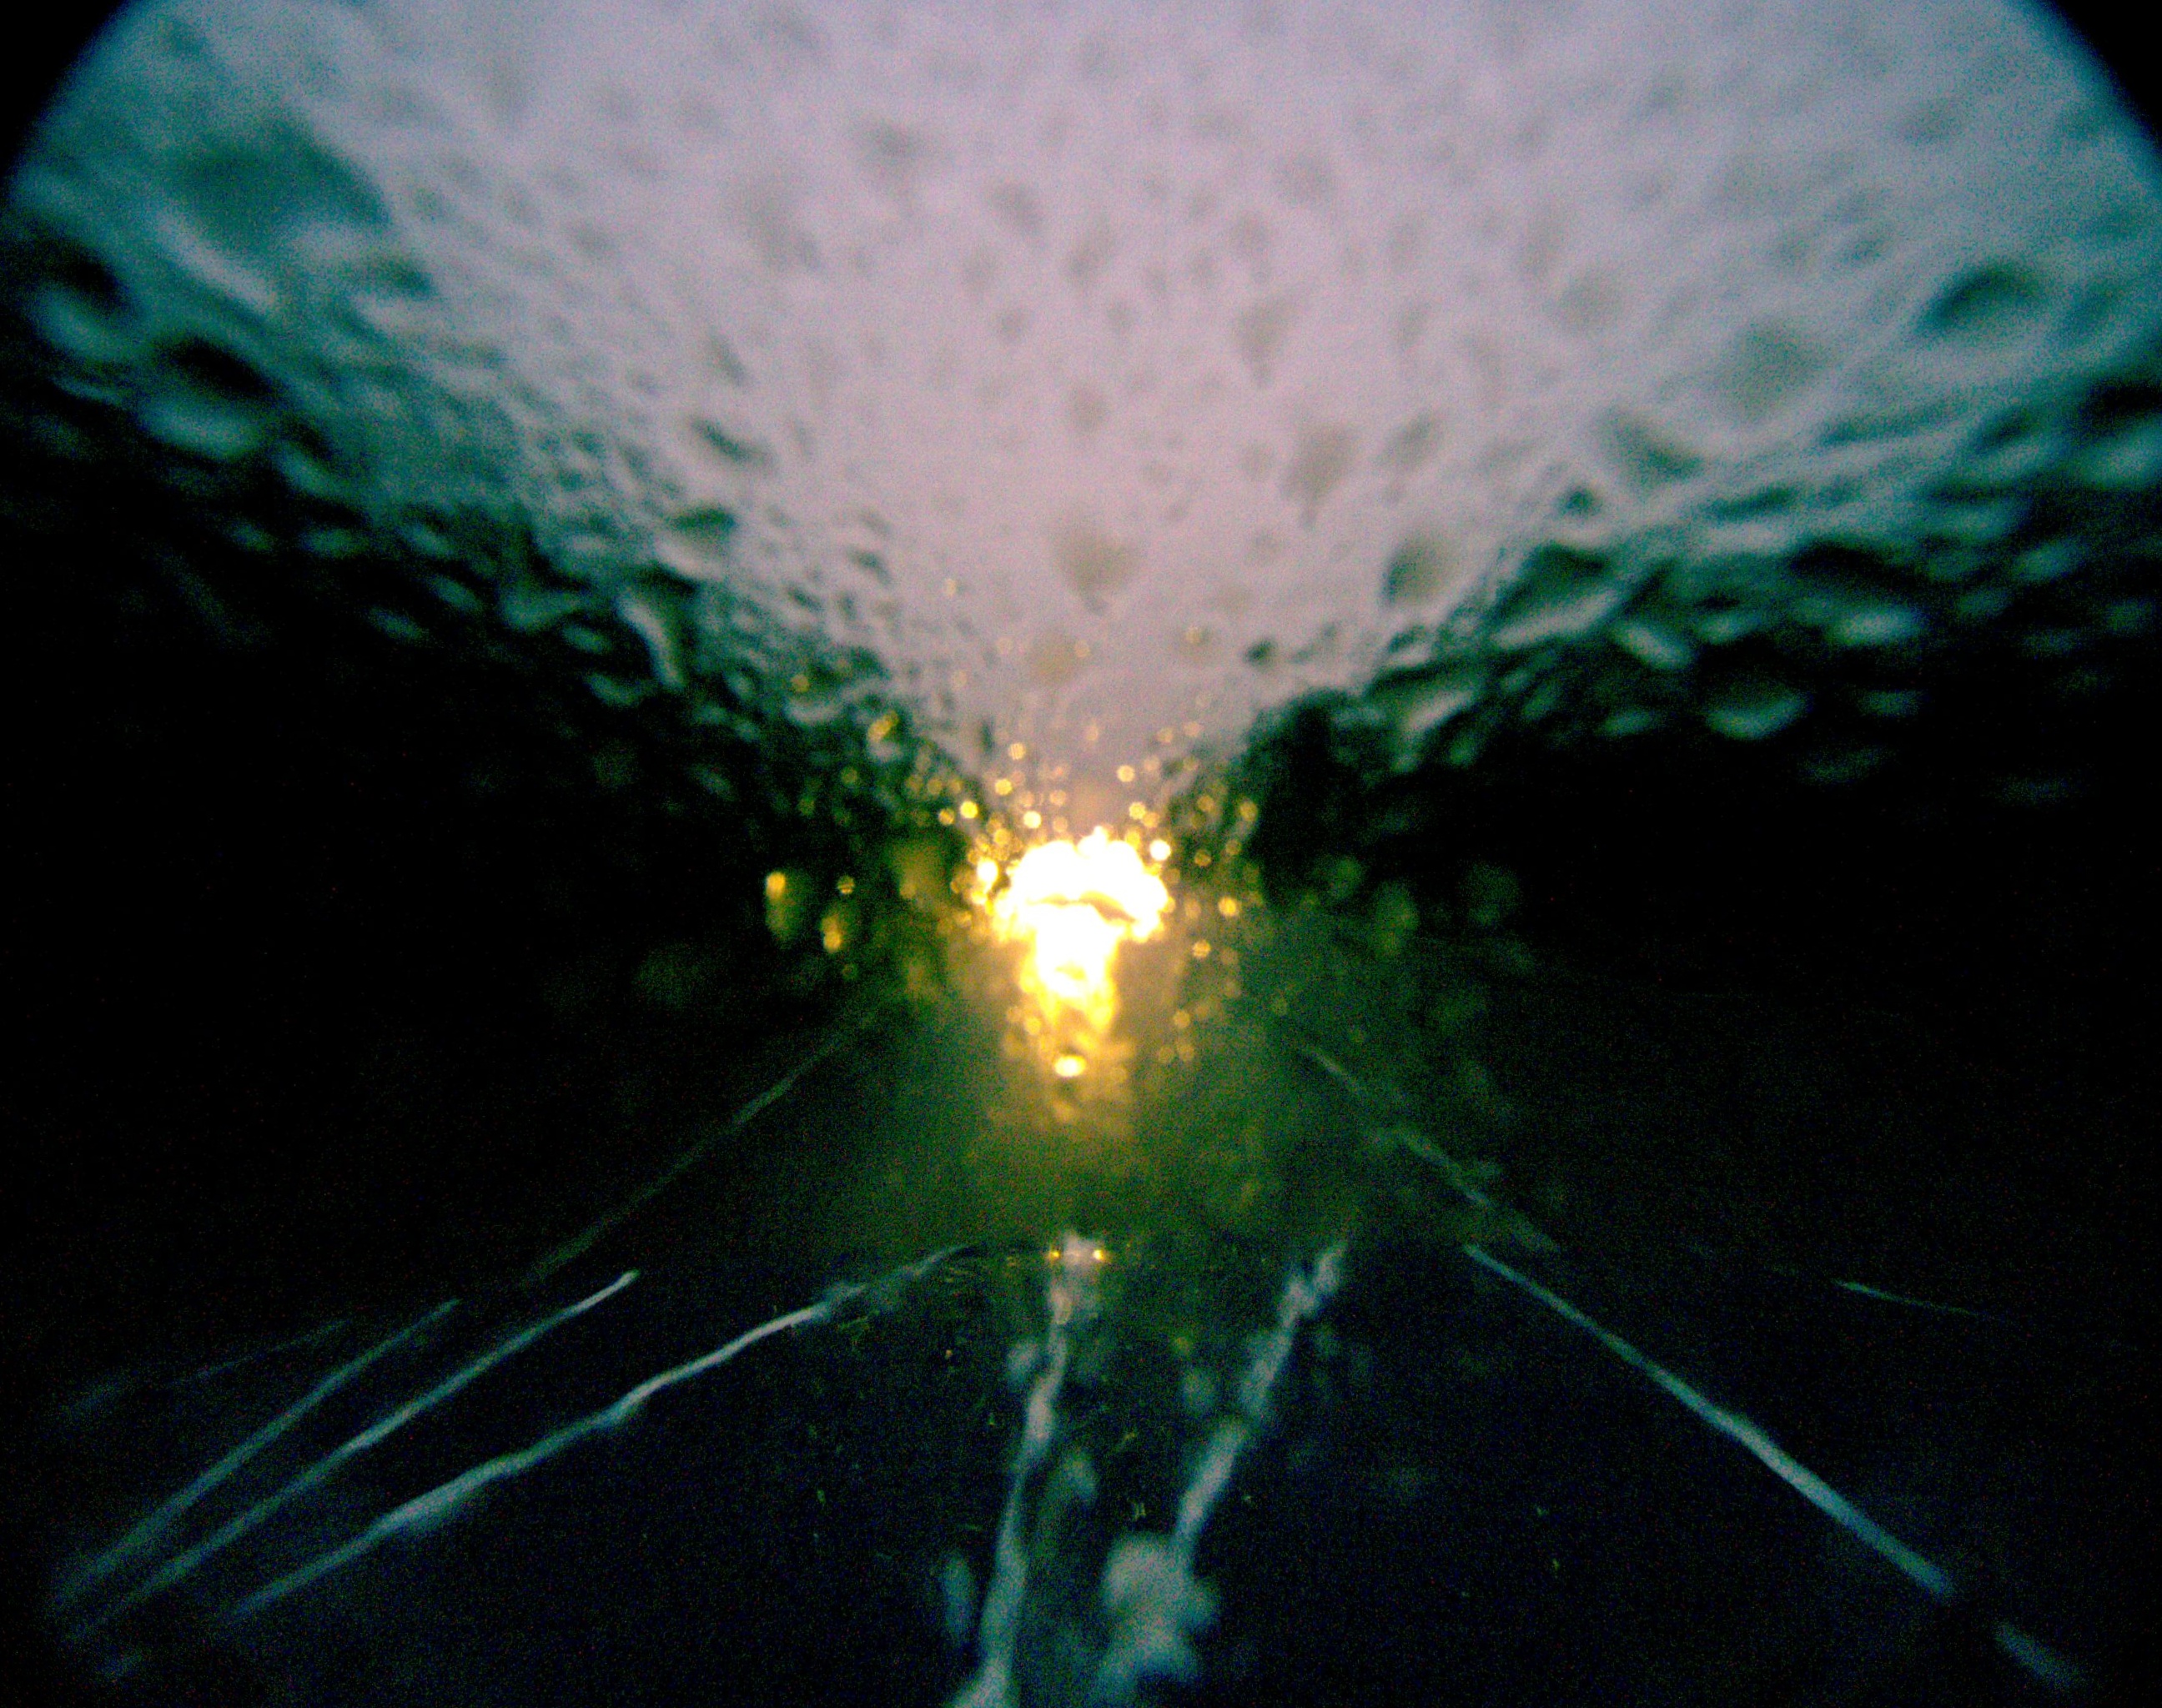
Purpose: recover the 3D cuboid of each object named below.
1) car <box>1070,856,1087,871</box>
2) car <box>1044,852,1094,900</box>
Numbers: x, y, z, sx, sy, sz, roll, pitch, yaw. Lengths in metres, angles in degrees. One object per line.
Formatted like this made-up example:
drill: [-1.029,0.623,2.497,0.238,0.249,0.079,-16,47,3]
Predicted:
car: [-0.339,1.122,94.418,1.999,1.752,4.371,-1,0,0]
car: [-0.386,0.797,29.543,1.573,1.701,4.001,-1,0,4]
